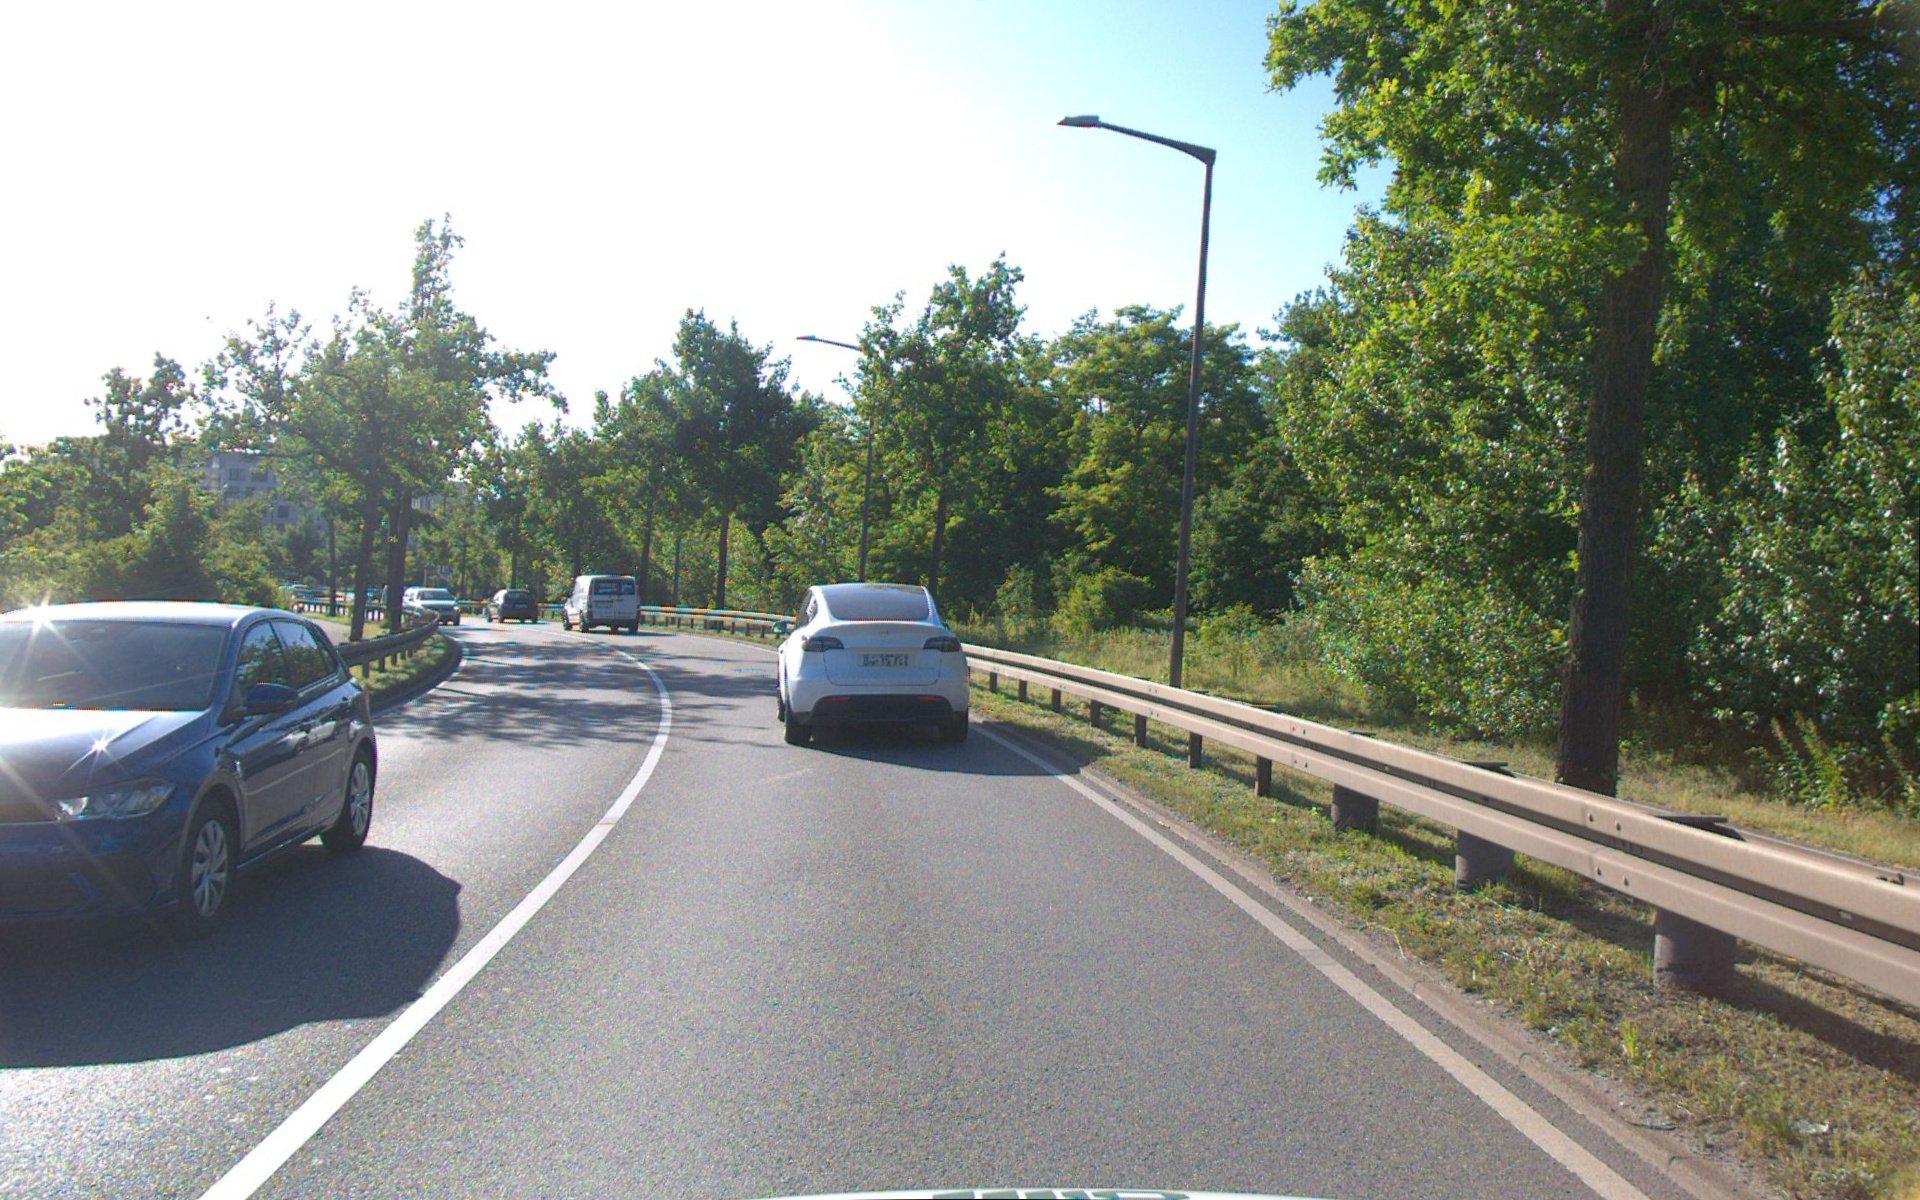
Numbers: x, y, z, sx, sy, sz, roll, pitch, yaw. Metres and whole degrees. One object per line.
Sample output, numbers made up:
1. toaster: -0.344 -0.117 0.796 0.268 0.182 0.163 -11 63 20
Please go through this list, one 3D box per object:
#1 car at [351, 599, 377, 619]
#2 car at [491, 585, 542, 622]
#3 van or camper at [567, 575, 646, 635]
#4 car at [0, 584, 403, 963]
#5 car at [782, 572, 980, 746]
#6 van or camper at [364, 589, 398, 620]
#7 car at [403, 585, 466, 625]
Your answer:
1. car: -49.505 0.727 137.345 1.785 1.581 4.109 1 0 -24
2. car: -19.285 0.175 71.777 1.583 1.460 3.651 3 -3 -23
3. van or camper: -12.115 0.167 56.480 1.930 1.917 4.849 1 0 -21
4. car: -4.142 0.678 8.407 1.646 1.476 3.994 1 0 -7
5. car: -0.993 0.583 18.290 1.877 1.669 4.404 1 0 -7
6. van or camper: -39.413 0.276 112.658 1.796 1.822 4.525 4 0 -16
7. car: -21.185 0.177 66.619 1.676 1.545 3.943 1 0 -29
